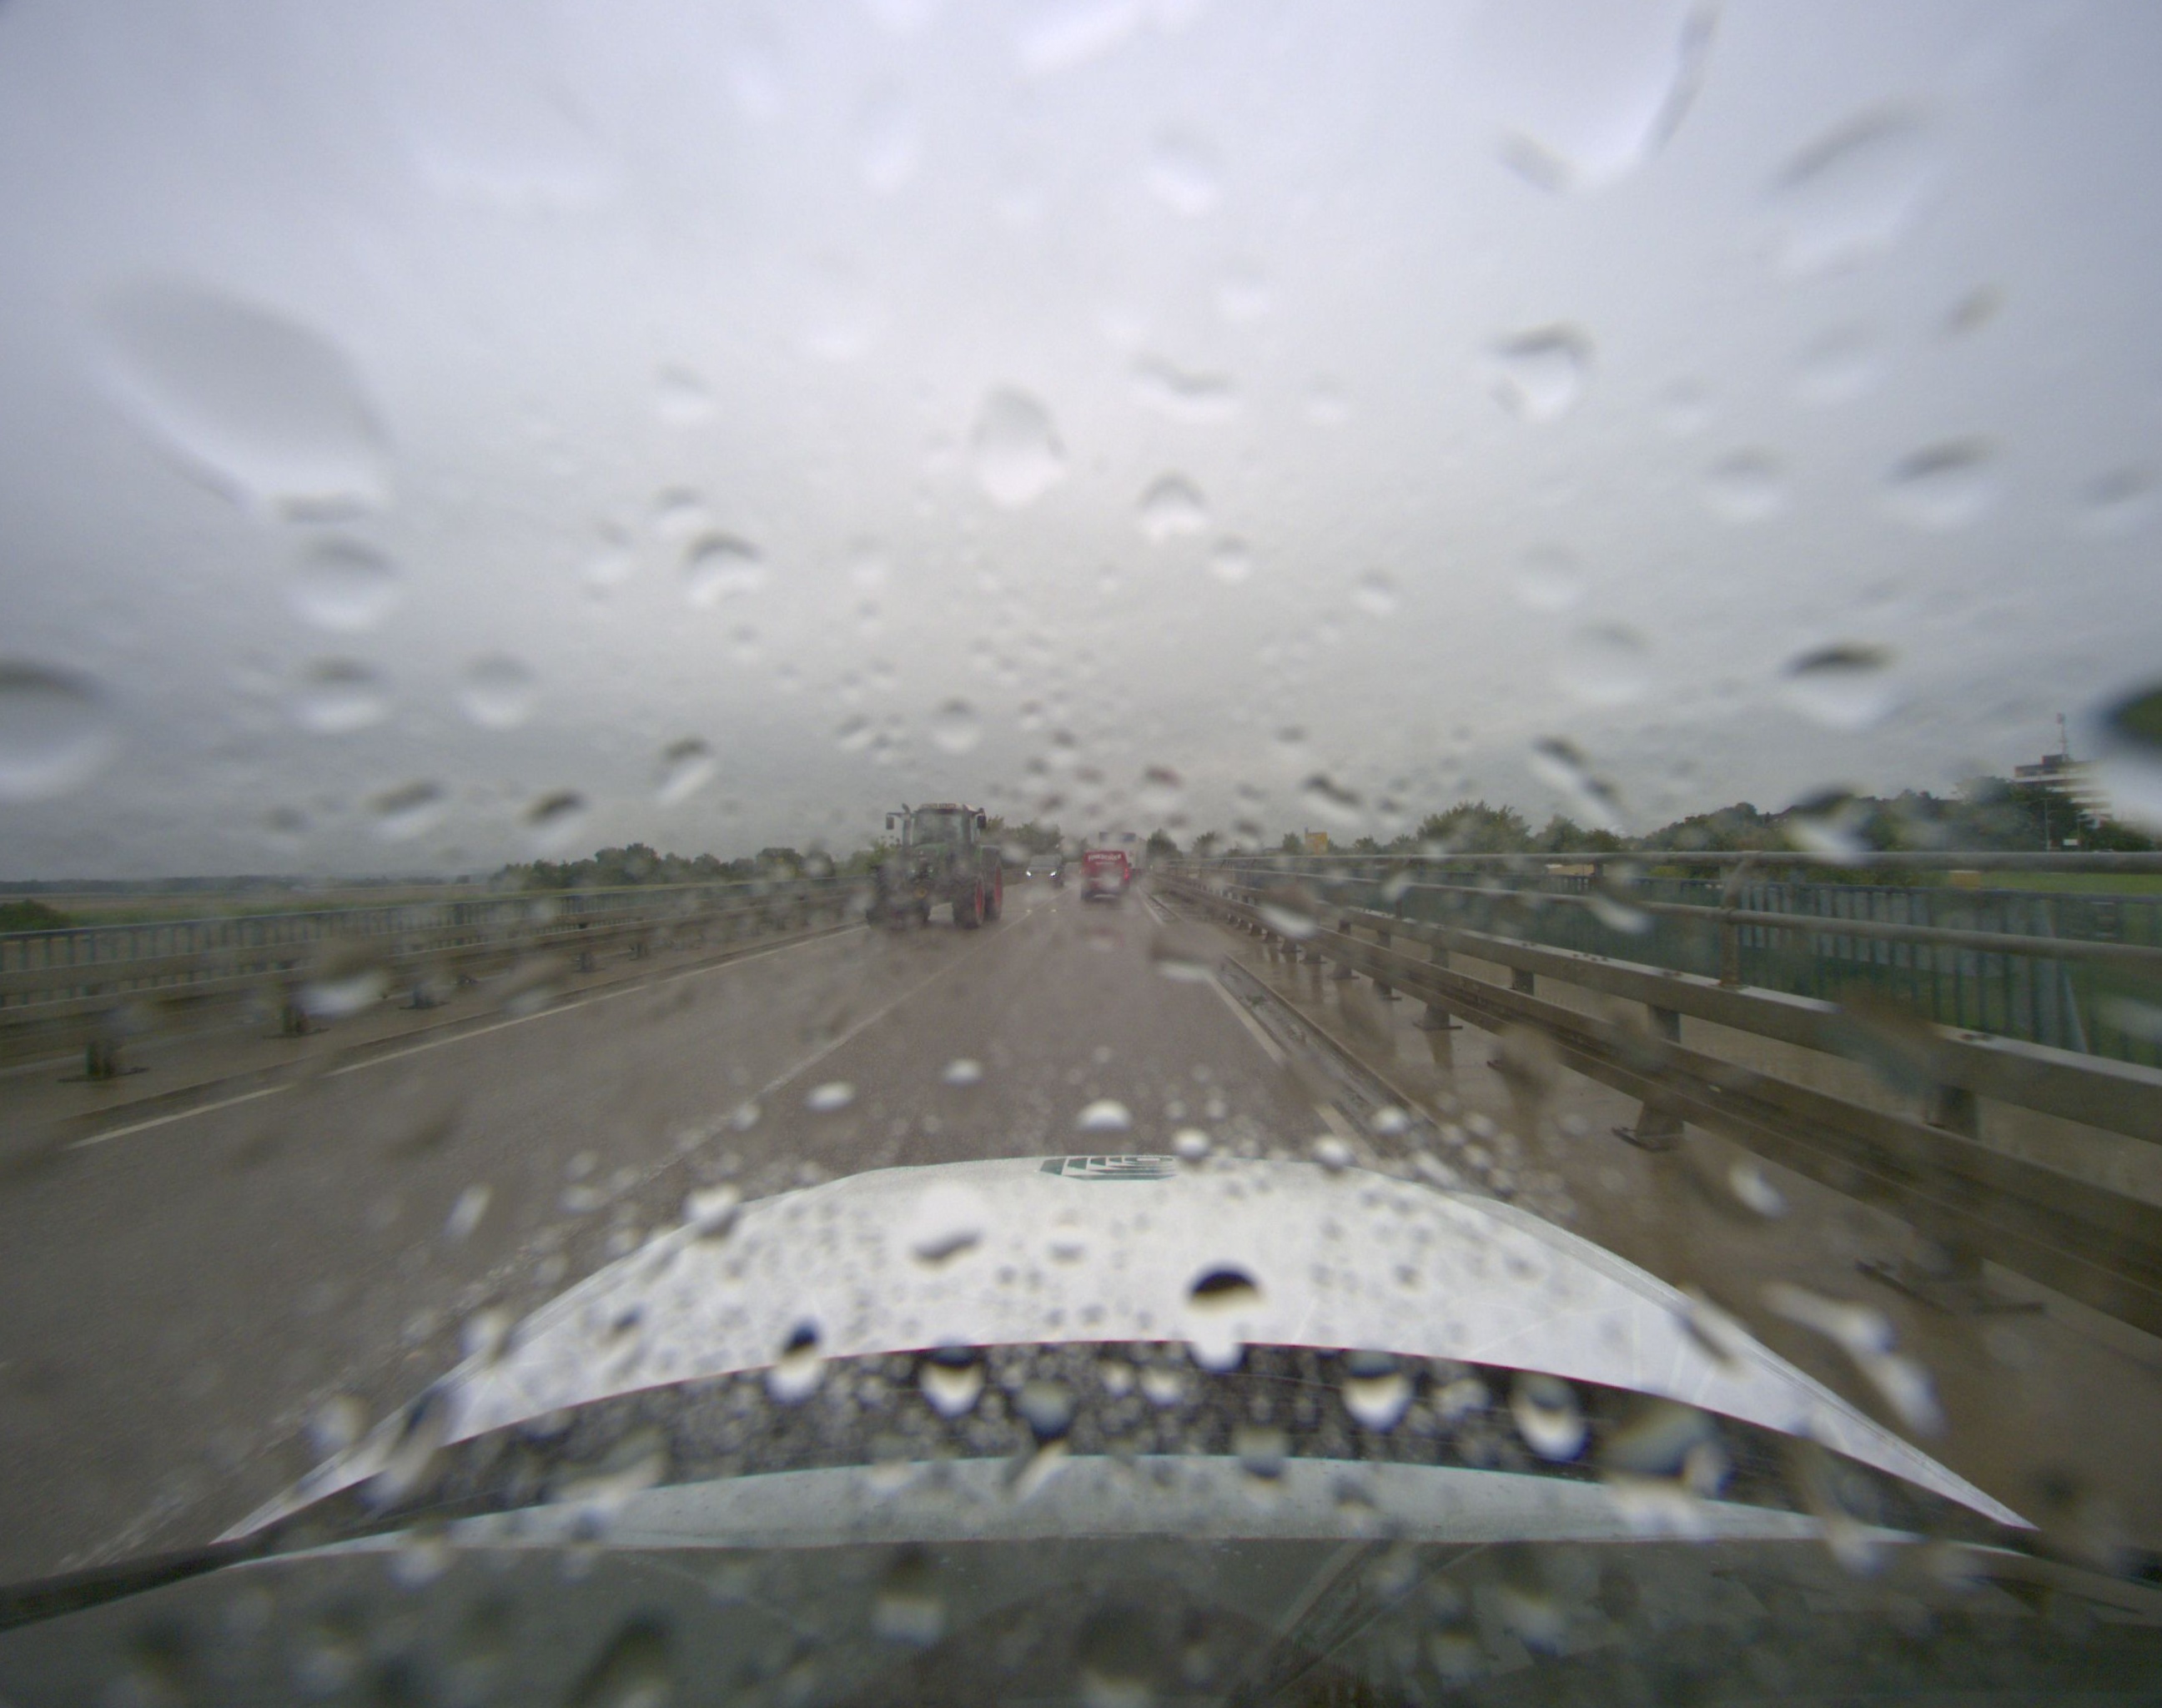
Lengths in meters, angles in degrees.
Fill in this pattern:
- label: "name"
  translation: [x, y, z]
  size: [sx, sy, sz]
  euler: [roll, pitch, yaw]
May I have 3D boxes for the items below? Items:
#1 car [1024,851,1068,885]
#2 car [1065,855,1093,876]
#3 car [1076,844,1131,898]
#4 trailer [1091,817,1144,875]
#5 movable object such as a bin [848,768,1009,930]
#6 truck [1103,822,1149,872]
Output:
- label: "car"
  translation: [-1.972, 0.790, 47.880]
  size: [2.057, 1.837, 4.935]
  euler: [-2, 0, 3]
- label: "car"
  translation: [-0.110, 0.902, 64.085]
  size: [1.830, 1.537, 4.075]
  euler: [-2, 0, 5]
- label: "car"
  translation: [0.862, 0.609, 31.928]
  size: [1.986, 1.925, 4.145]
  euler: [0, 1, 1]
- label: "trailer"
  translation: [2.833, -0.529, 60.343]
  size: [3.184, 3.922, 8.756]
  euler: [2, 0, 7]
- label: "movable object such as a bin"
  translation: [-3.536, -0.108, 20.060]
  size: [2.737, 3.445, 4.647]
  euler: [-2, 0, 3]
- label: "truck"
  translation: [3.945, -0.534, 69.075]
  size: [3.184, 3.922, 8.756]
  euler: [2, 0, 7]
